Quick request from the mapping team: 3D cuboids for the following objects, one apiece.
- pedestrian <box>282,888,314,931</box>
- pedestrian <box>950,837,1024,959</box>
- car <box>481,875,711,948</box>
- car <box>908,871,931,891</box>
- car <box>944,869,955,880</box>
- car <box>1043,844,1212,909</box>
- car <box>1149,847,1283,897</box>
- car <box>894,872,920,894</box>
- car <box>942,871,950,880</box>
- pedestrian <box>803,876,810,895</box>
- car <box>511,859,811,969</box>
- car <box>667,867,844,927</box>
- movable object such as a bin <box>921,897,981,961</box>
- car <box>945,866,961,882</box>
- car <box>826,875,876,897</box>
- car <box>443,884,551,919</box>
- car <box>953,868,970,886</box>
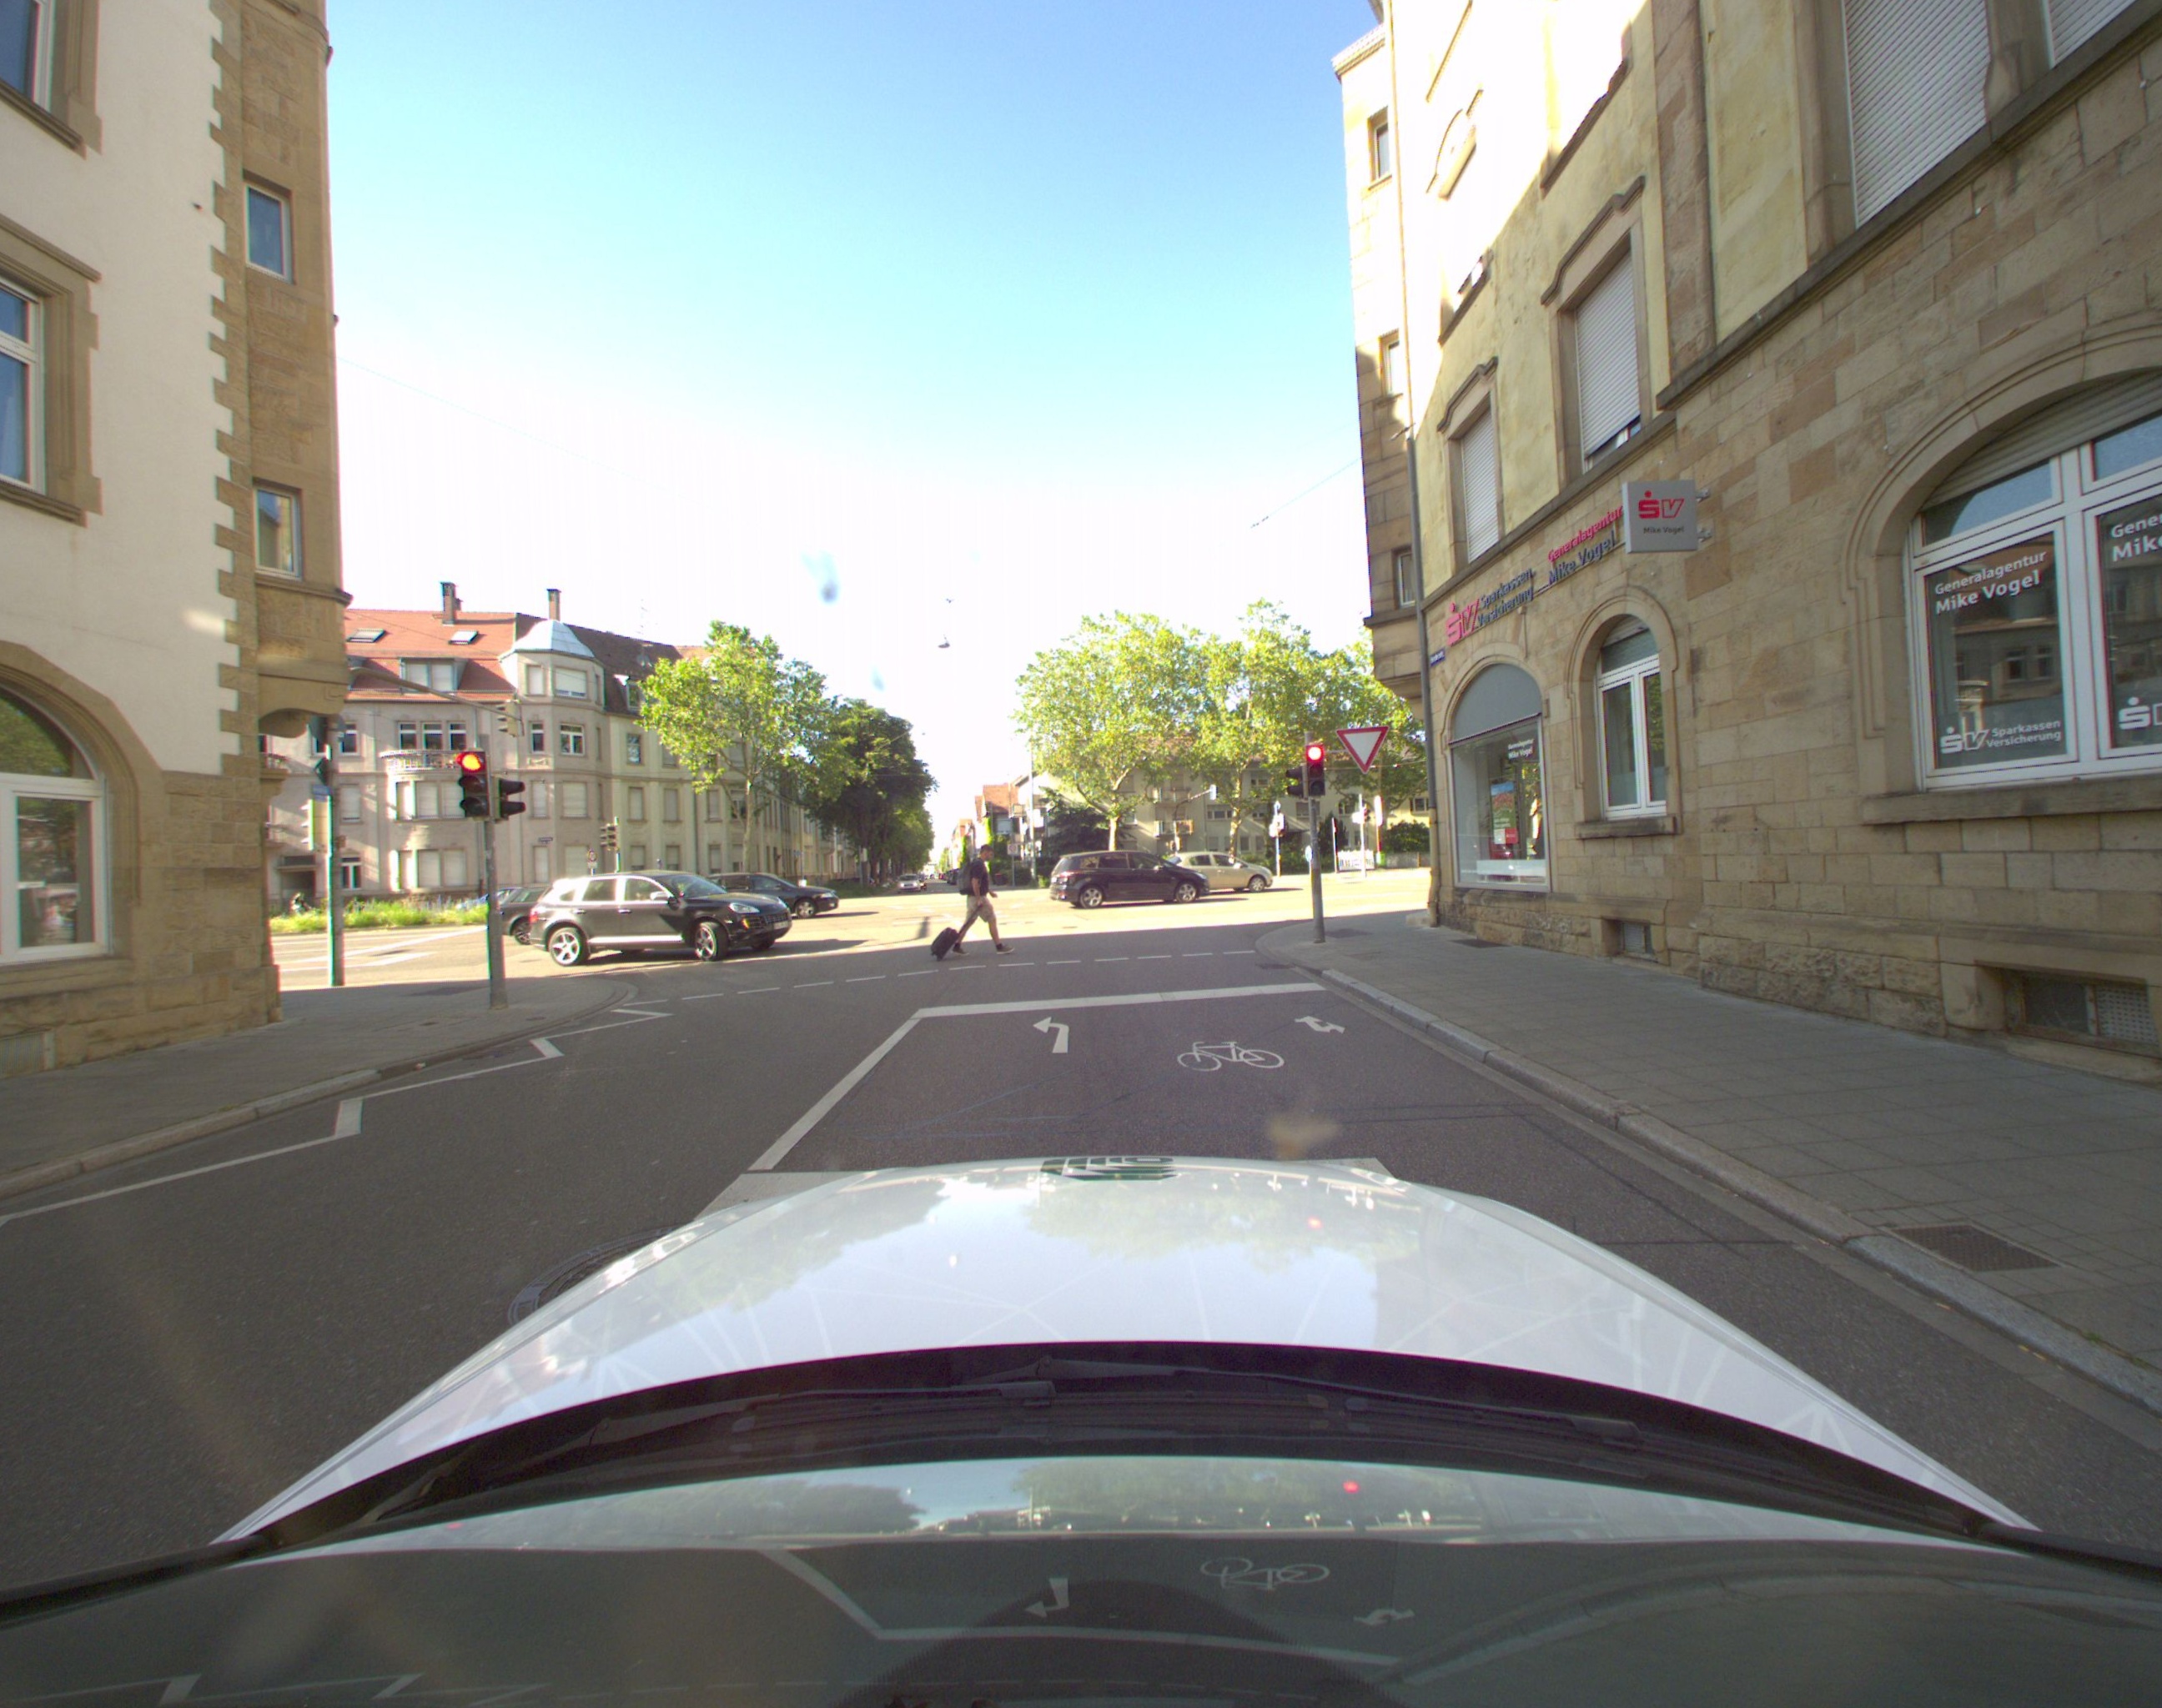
[{"bbox_3d":[-38.477,2.720,40.017,0.836,2.014,0.749,0,-1,-15],"label":"pedestrian"},{"bbox_3d":[-1.536,0.686,13.177,1.066,1.848,0.746,-3,0,-11],"label":"pedestrian"},{"bbox_3d":[-12.056,1.392,20.572,4.624,1.456,1.722,-3,-1,-14],"label":"car"},{"bbox_3d":[-13.954,2.330,70.489,1.698,1.483,3.522,-4,0,-10],"label":"car"},{"bbox_3d":[-23.748,3.715,147.183,1.773,1.918,3.522,-4,0,-10],"label":"car"},{"bbox_3d":[1.340,0.629,24.076,4.666,1.664,1.723,-2,0,-13],"label":"car"},{"bbox_3d":[4.618,0.581,28.018,4.206,1.456,1.671,-3,0,-13],"label":"car"},{"bbox_3d":[-13.592,2.271,63.815,1.698,1.483,3.522,-4,0,-10],"label":"car"},{"bbox_3d":[-30.123,4.826,181.726,1.773,1.918,3.522,-4,0,-10],"label":"car"},{"bbox_3d":[-20.995,2.381,62.260,0.489,1.442,0.702,0,-1,-14],"label":"pedestrian"},{"bbox_3d":[-7.954,1.103,15.700,4.668,1.693,2.083,-4,0,6],"label":"car"},{"bbox_3d":[-9.696,1.247,24.639,4.620,1.456,1.974,-3,0,-11],"label":"car"},{"bbox_3d":[-2.029,1.153,12.701,0.862,0.892,0.507,-3,0,-11],"label":"movable object such as a bin"},{"bbox_3d":[-16.562,2.557,105.202,1.773,1.918,3.522,-4,0,-10],"label":"car"},{"bbox_3d":[-17.949,2.475,63.712,3.636,1.457,1.650,-2,0,-14],"label":"car"},{"bbox_3d":[-27.517,2.208,38.496,3.792,1.400,1.635,-2,0,-19],"label":"car"},{"bbox_3d":[-13.951,2.704,95.012,1.773,1.918,3.522,-4,0,-10],"label":"car"}]
